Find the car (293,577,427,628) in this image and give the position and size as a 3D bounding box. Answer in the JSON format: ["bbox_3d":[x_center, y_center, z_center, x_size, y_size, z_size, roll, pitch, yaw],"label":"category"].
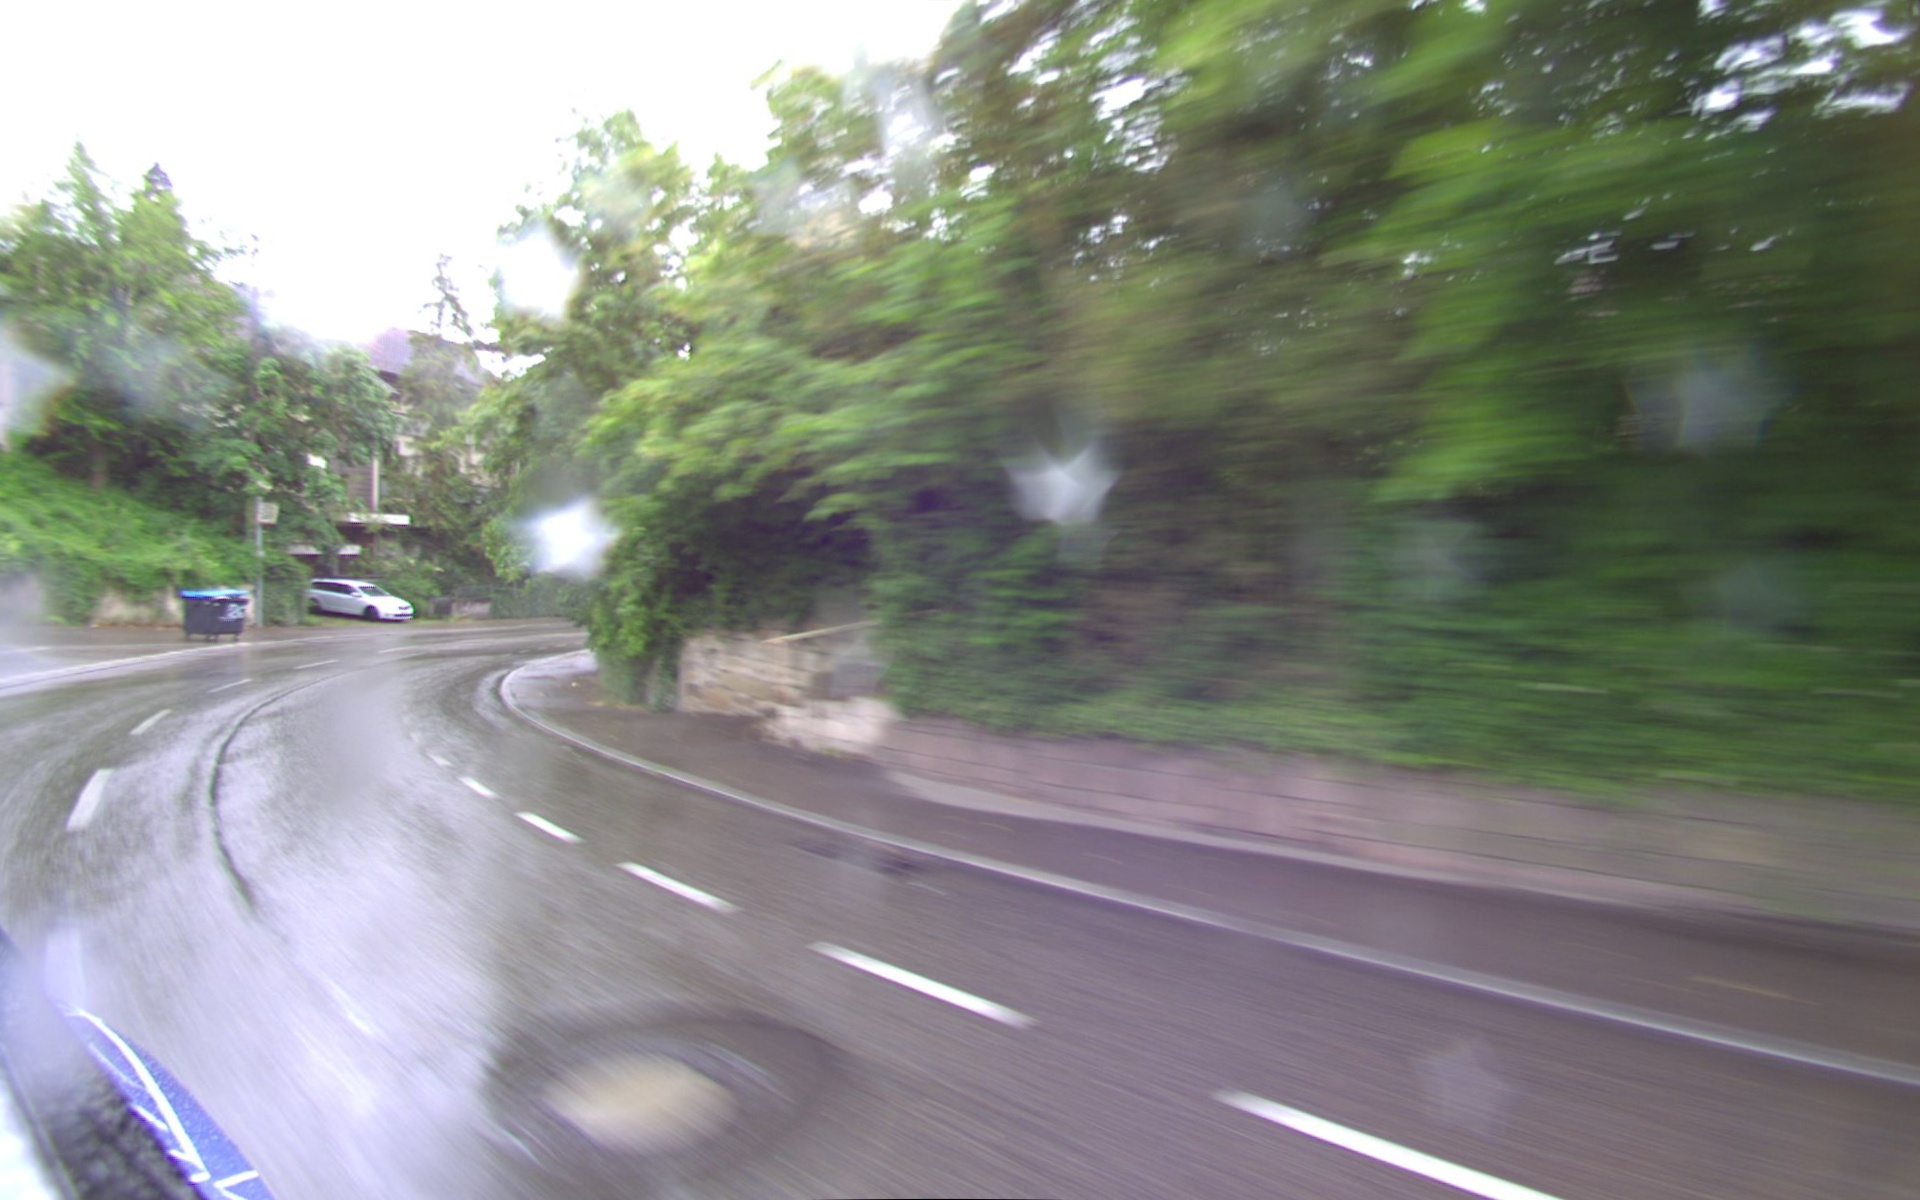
[{"bbox_3d":[-24.882,0.109,42.039,4.515,1.564,1.994,7,0,10],"label":"car"}]

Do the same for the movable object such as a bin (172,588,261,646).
[{"bbox_3d":[-20.348,0.469,27.740,1.147,1.419,1.480,6,0,9],"label":"movable object such as a bin"}]
